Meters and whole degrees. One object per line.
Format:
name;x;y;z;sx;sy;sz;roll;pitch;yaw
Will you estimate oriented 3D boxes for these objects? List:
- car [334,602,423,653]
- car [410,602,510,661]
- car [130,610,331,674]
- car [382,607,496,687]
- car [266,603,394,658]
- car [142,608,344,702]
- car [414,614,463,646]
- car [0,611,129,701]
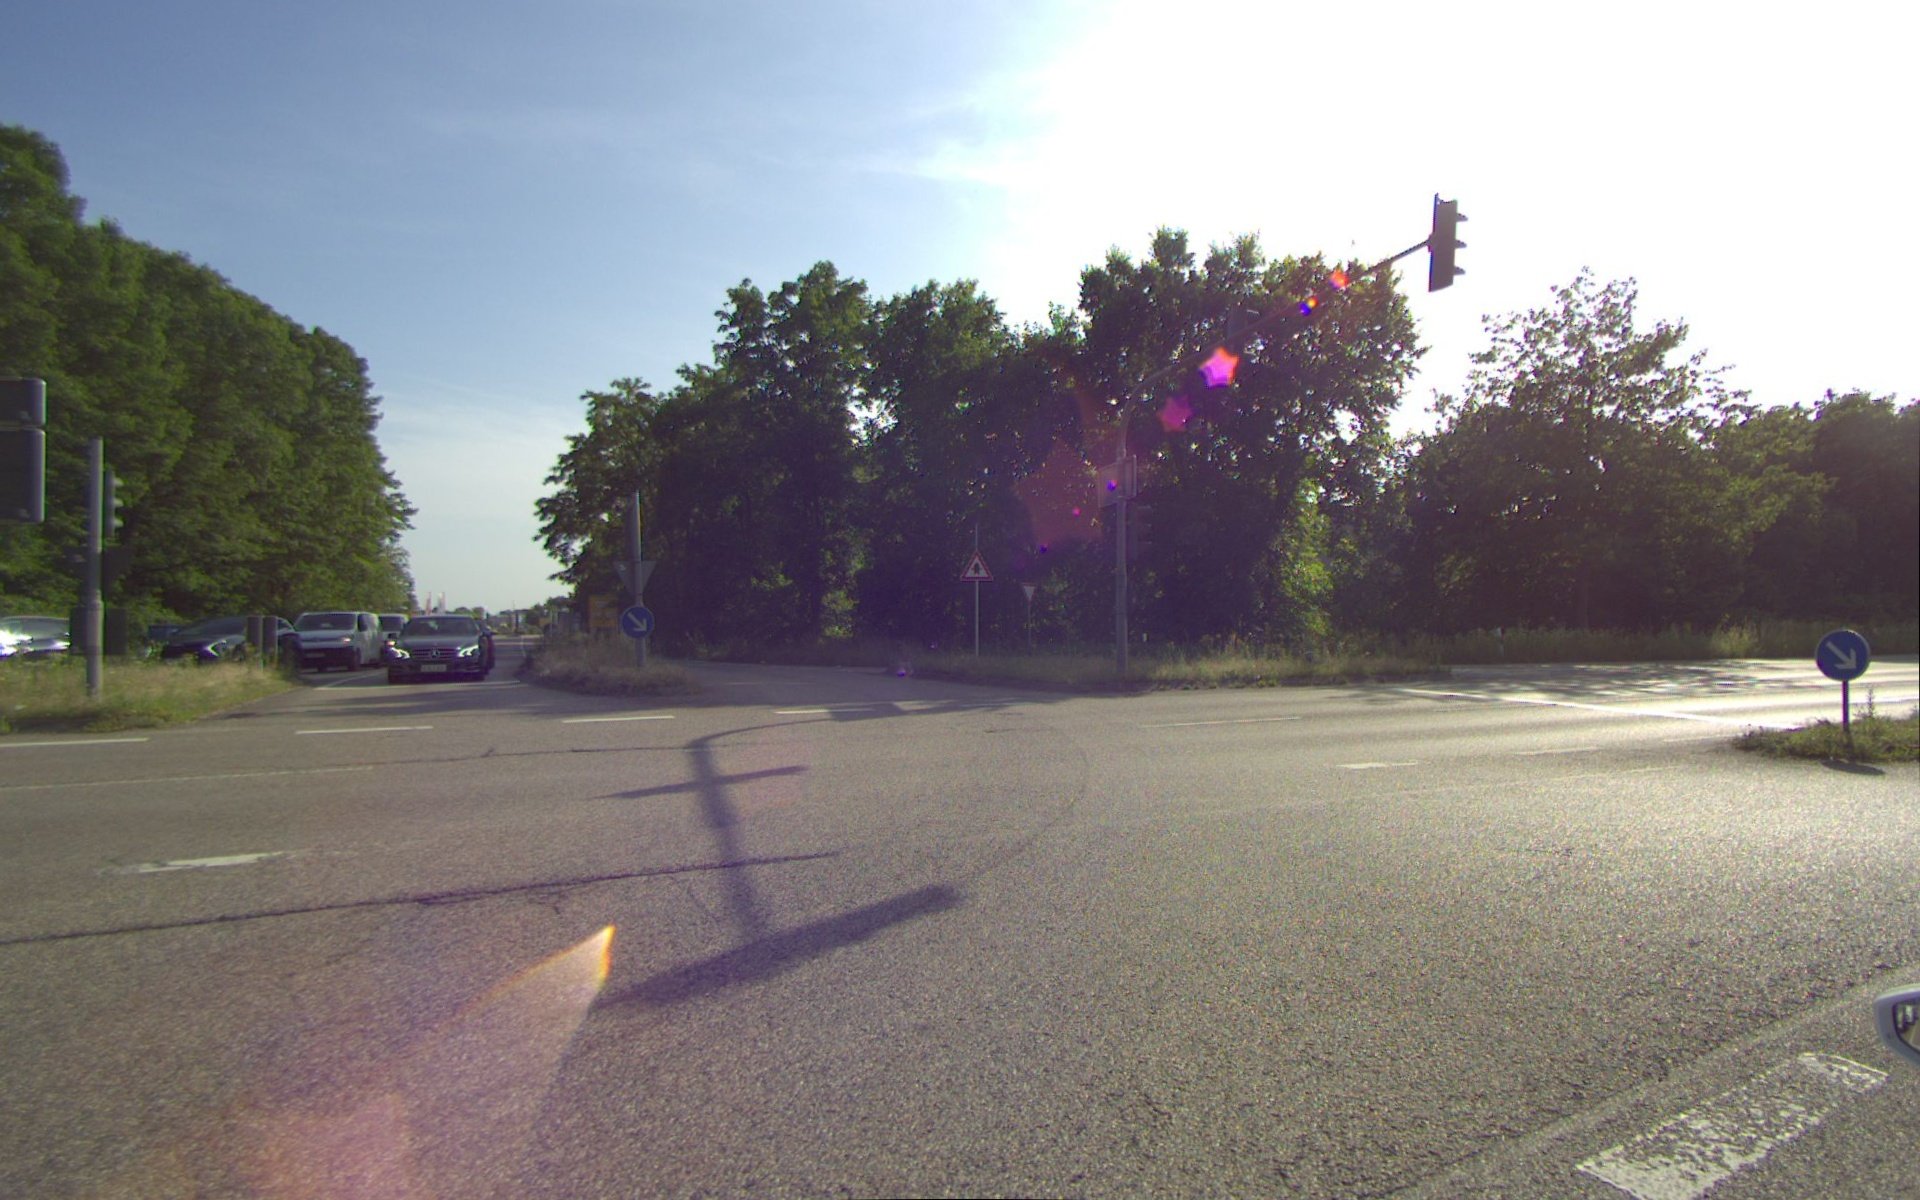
car;-21.931;1.008;38.101;2.159;1.750;4.629;2;0;-21
car;-14.608;0.874;29.595;2.176;1.510;4.963;2;0;-22
car;-18.268;0.987;25.530;2.016;1.361;5.195;2;0;-10
car;-11.683;0.971;22.372;1.977;1.510;4.384;2;0;-31
car;-19.612;0.901;31.539;2.411;1.510;5.045;2;0;-21
car;-13.321;0.955;19.004;1.970;1.510;4.401;2;0;-20
car;-31.612;1.810;61.010;2.103;1.750;4.629;2;0;-21
car;-17.764;0.993;17.945;1.960;1.510;4.563;2;0;1
